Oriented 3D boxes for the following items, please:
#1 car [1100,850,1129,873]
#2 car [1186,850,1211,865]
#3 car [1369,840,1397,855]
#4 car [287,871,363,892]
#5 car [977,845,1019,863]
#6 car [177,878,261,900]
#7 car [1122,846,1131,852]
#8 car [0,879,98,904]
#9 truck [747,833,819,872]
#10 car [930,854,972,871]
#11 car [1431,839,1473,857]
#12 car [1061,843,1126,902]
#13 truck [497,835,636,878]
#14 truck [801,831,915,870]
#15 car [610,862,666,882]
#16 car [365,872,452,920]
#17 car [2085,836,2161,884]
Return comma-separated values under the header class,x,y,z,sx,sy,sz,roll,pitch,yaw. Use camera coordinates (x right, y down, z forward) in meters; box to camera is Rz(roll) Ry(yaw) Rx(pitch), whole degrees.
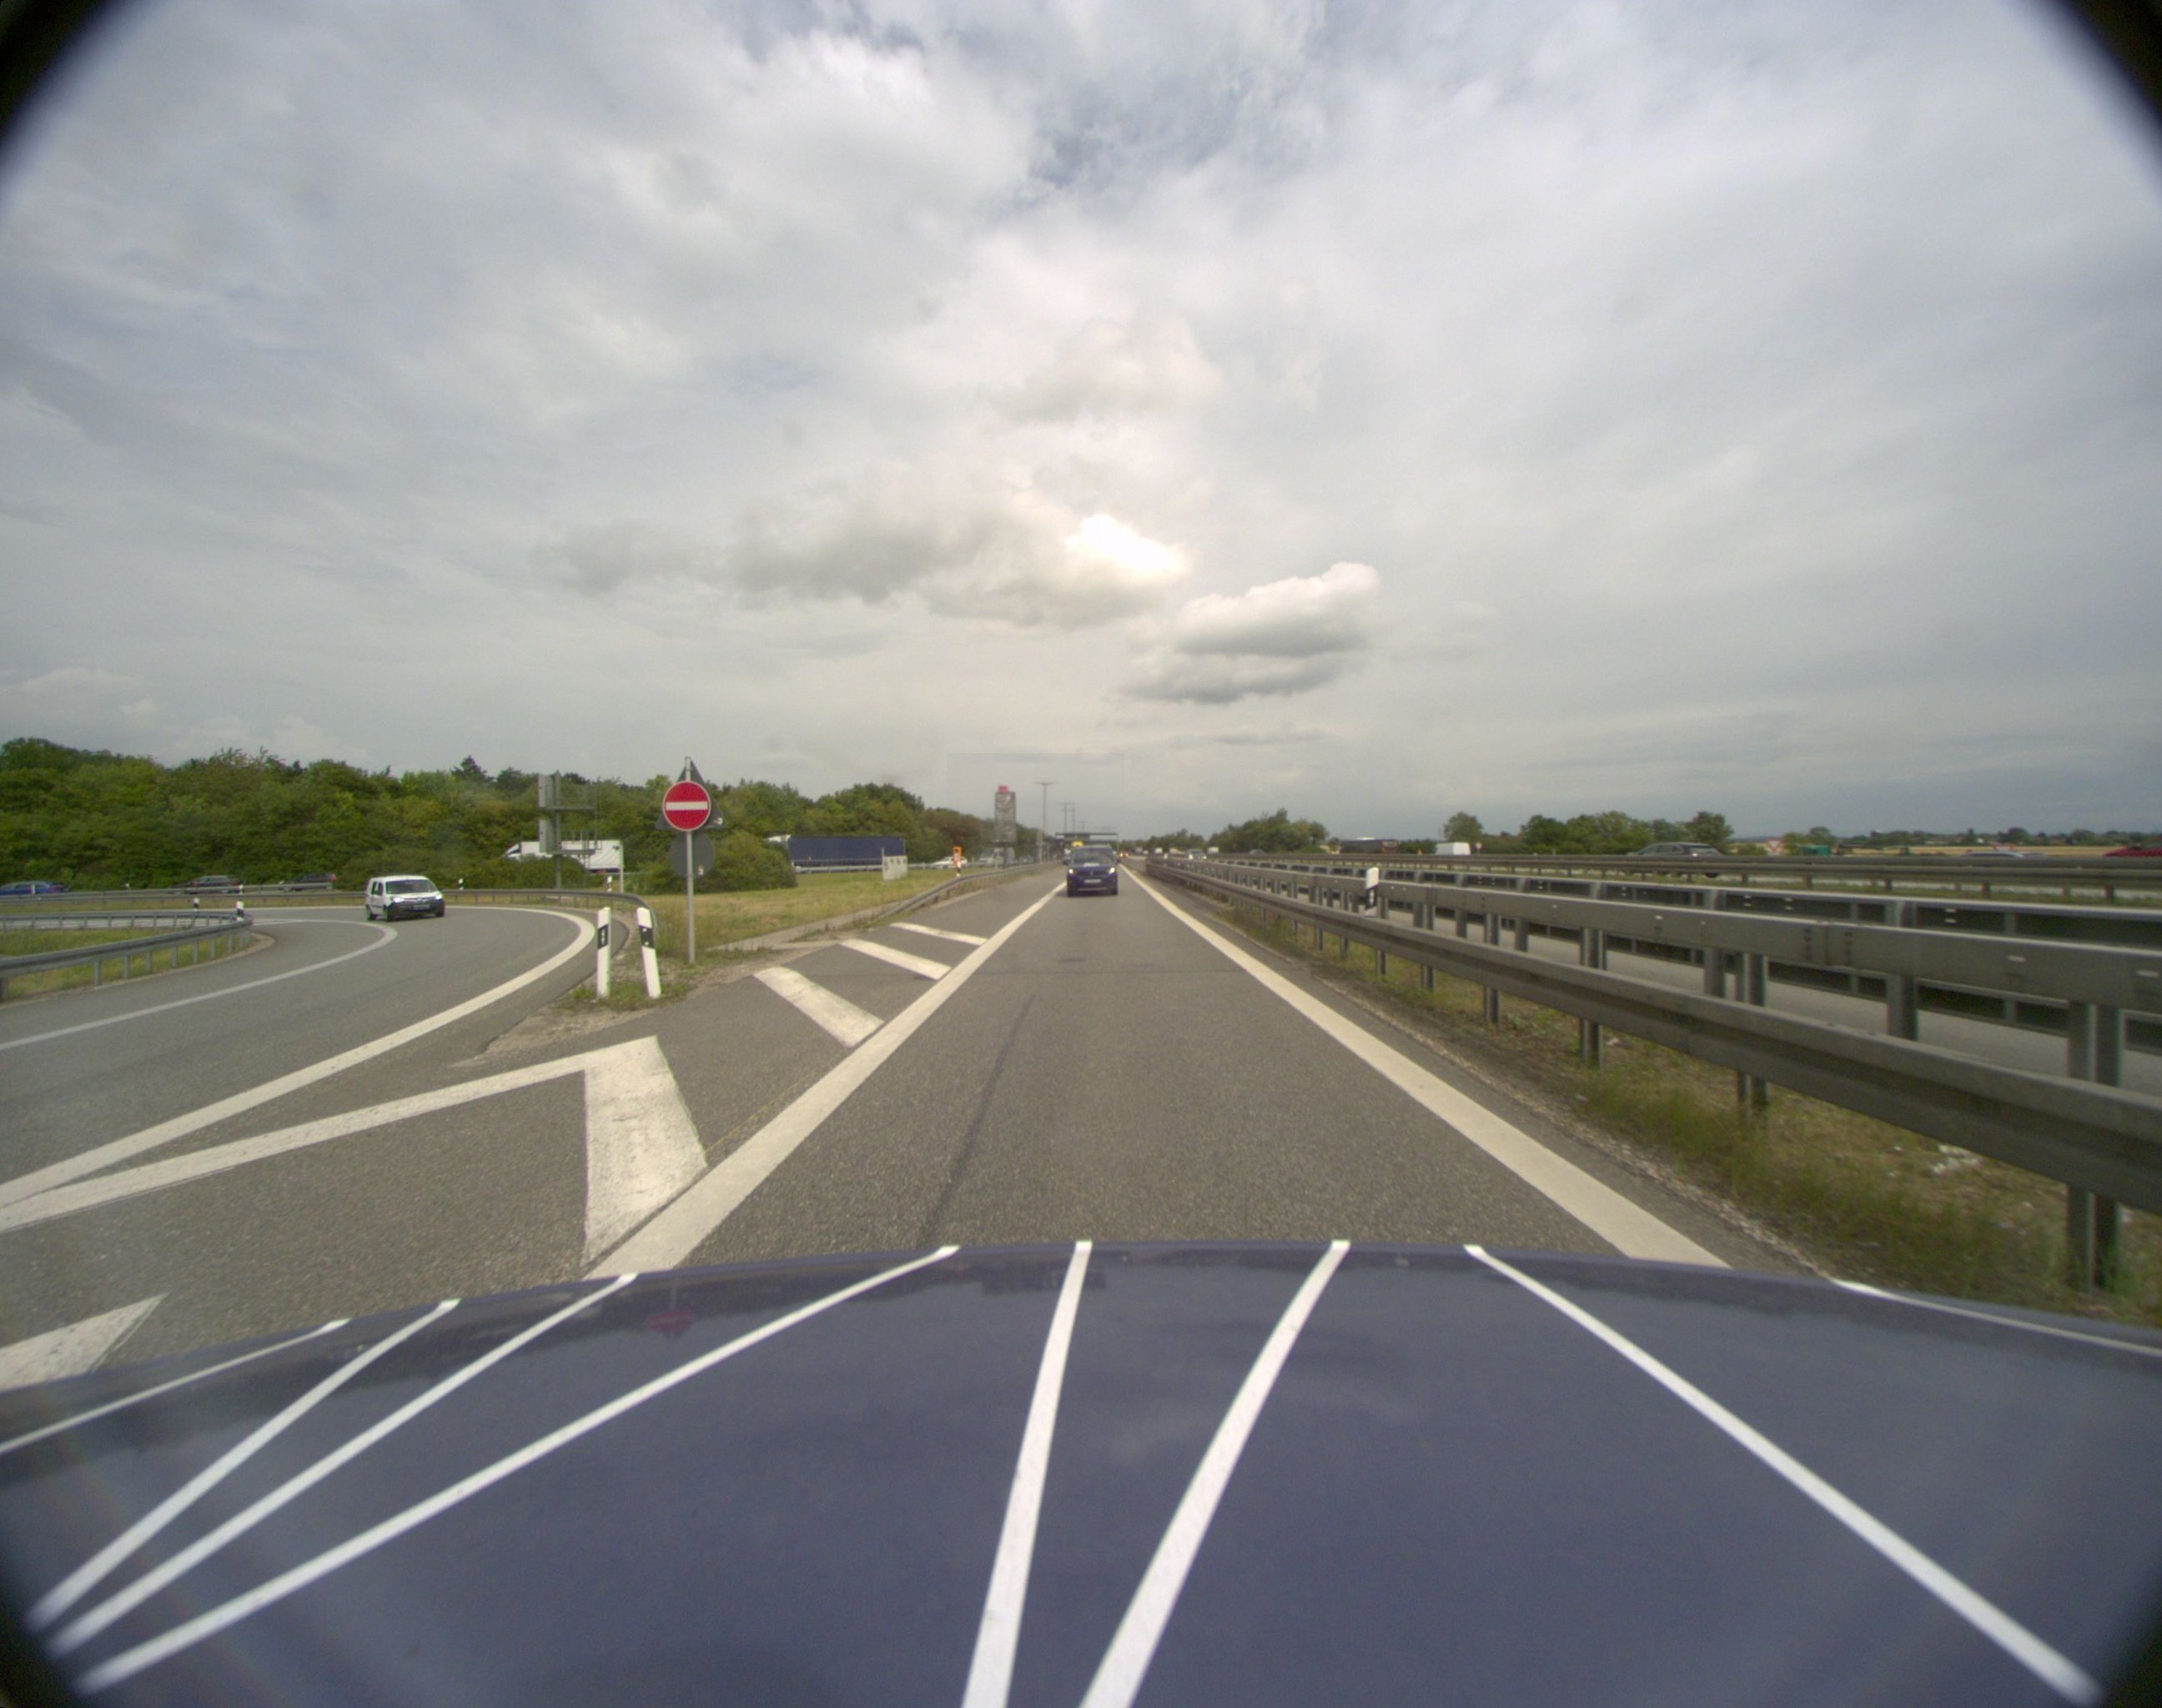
class,x,y,z,sx,sy,sz,roll,pitch,yaw
car,2.311,0.489,52.635,1.747,1.381,3.998,-2,2,-1
car,12.975,0.368,83.864,1.886,1.537,4.613,-2,1,-1
car,40.332,-0.853,101.565,1.831,1.849,3.998,-2,1,-5
car,-60.987,2.194,61.395,4.004,1.392,1.556,-2,1,-22
car,-10.584,-0.011,97.557,1.995,2.002,5.964,-2,1,32
car,-67.325,2.683,59.441,4.004,1.442,1.555,-3,1,-25
car,11.643,-1.271,195.203,1.824,1.537,4.353,-2,1,-2
car,-75.101,2.712,55.297,4.005,1.485,1.555,-3,1,-29
truck,-30.174,-0.193,77.015,5.939,3.780,2.894,-3,1,-45
car,-15.411,1.038,90.047,1.994,1.774,4.505,-1,1,45
car,40.965,-0.662,83.978,2.107,1.849,4.749,-2,1,-2
car,0.358,0.563,26.146,1.999,1.783,3.999,-2,1,-1
truck,-45.733,0.163,67.990,9.887,3.383,2.689,-3,1,-25
truck,-24.103,-0.424,82.947,11.814,3.836,2.839,-3,1,-45
car,-37.516,1.514,64.456,4.005,1.540,1.734,-3,1,-29
car,-27.524,1.663,31.081,3.989,1.736,1.867,-2,1,38
car,43.971,0.218,30.604,1.802,1.849,3.999,-2,1,1
